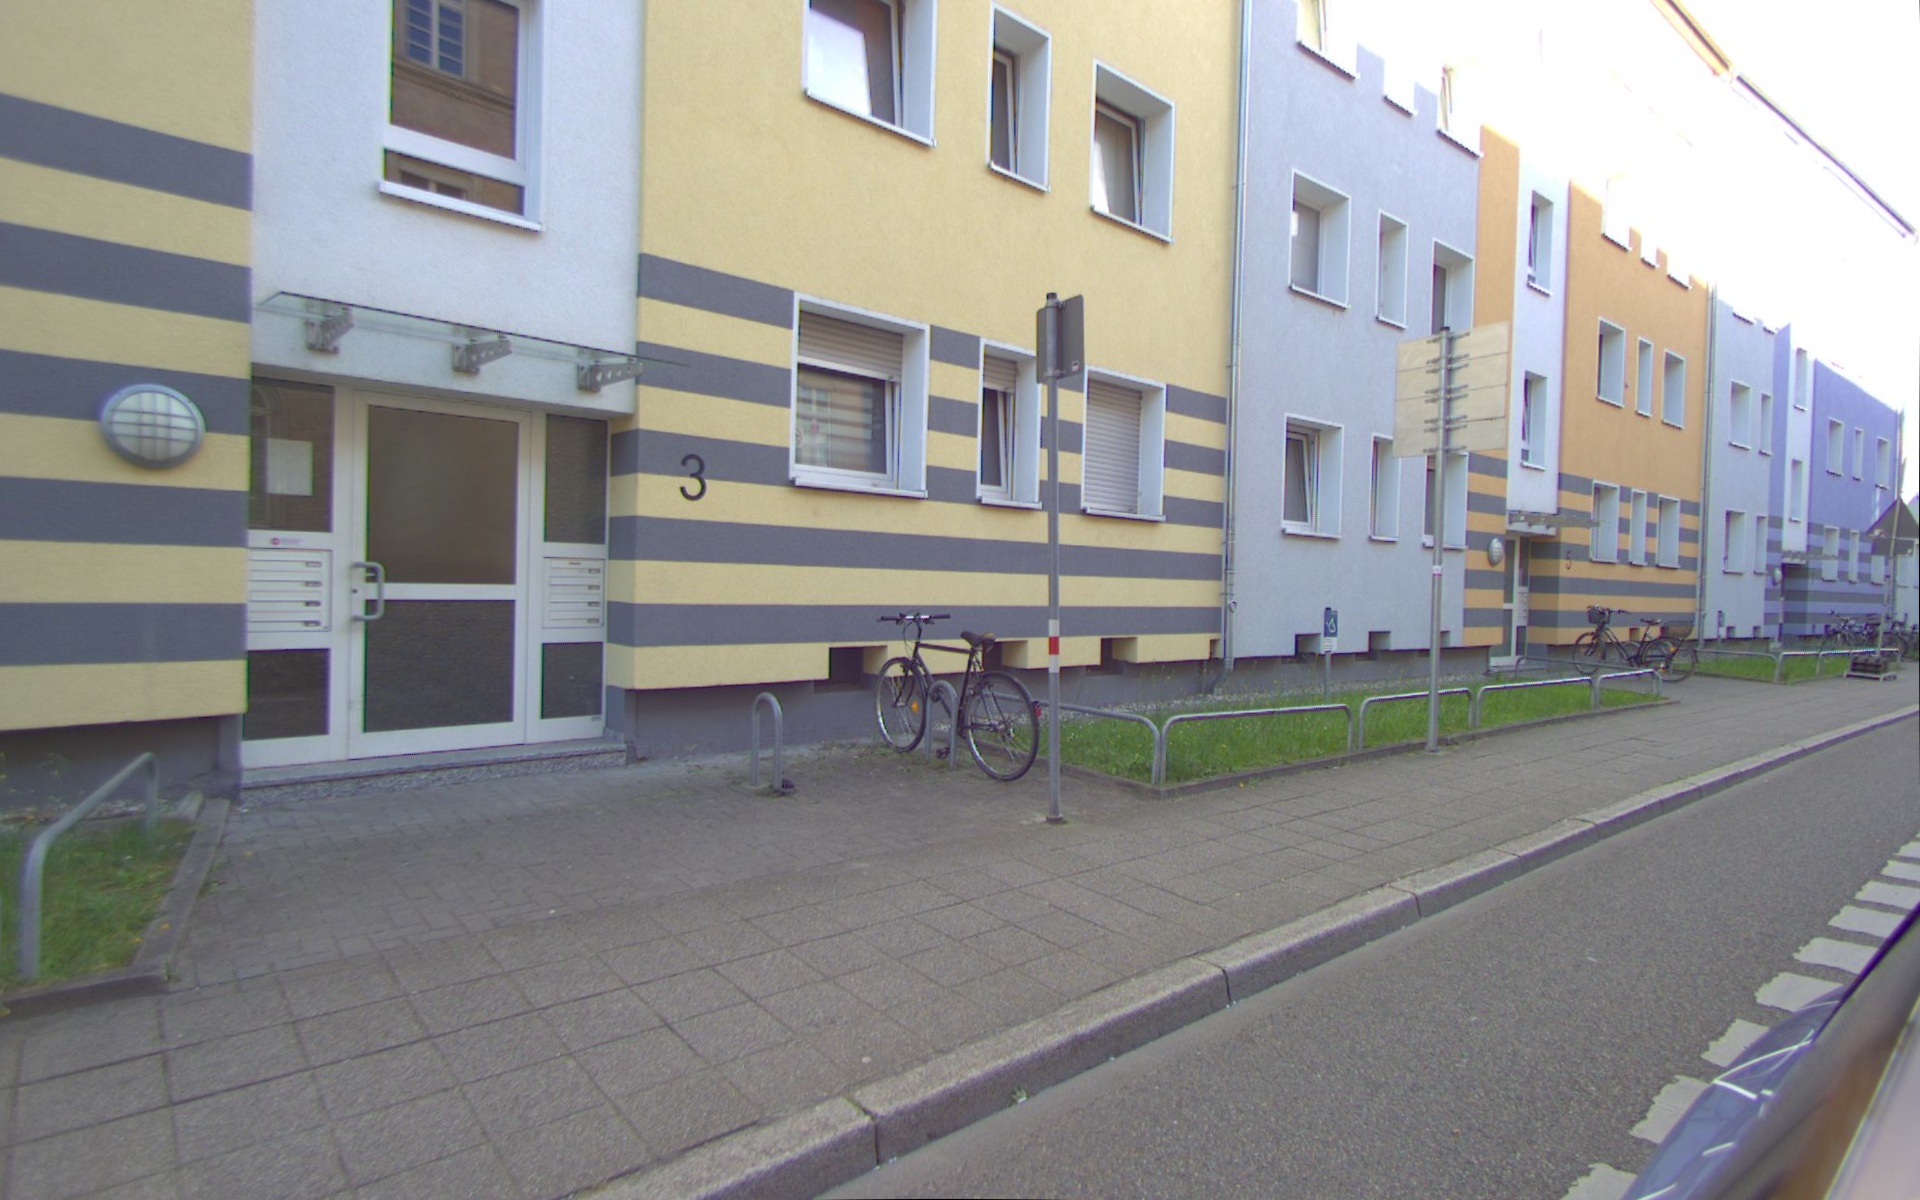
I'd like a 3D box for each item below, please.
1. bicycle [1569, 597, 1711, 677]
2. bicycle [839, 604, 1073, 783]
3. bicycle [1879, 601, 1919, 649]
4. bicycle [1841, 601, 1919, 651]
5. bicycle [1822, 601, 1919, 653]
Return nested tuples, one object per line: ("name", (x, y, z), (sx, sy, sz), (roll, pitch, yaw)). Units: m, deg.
("bicycle", (10.680, 0.553, 15.936), (1.775, 1.137, 0.476), (3, 1, 44))
("bicycle", (-0.081, 0.580, 7.007), (1.775, 1.031, 0.476), (3, 1, 44))
("bicycle", (24.127, 0.644, 25.269), (0.475, 1.166, 1.678), (1, 1, -37))
("bicycle", (23.300, 0.633, 25.412), (0.475, 1.166, 1.678), (1, 1, -37))
("bicycle", (22.218, 0.650, 24.720), (0.475, 1.166, 1.678), (1, 1, -37))
